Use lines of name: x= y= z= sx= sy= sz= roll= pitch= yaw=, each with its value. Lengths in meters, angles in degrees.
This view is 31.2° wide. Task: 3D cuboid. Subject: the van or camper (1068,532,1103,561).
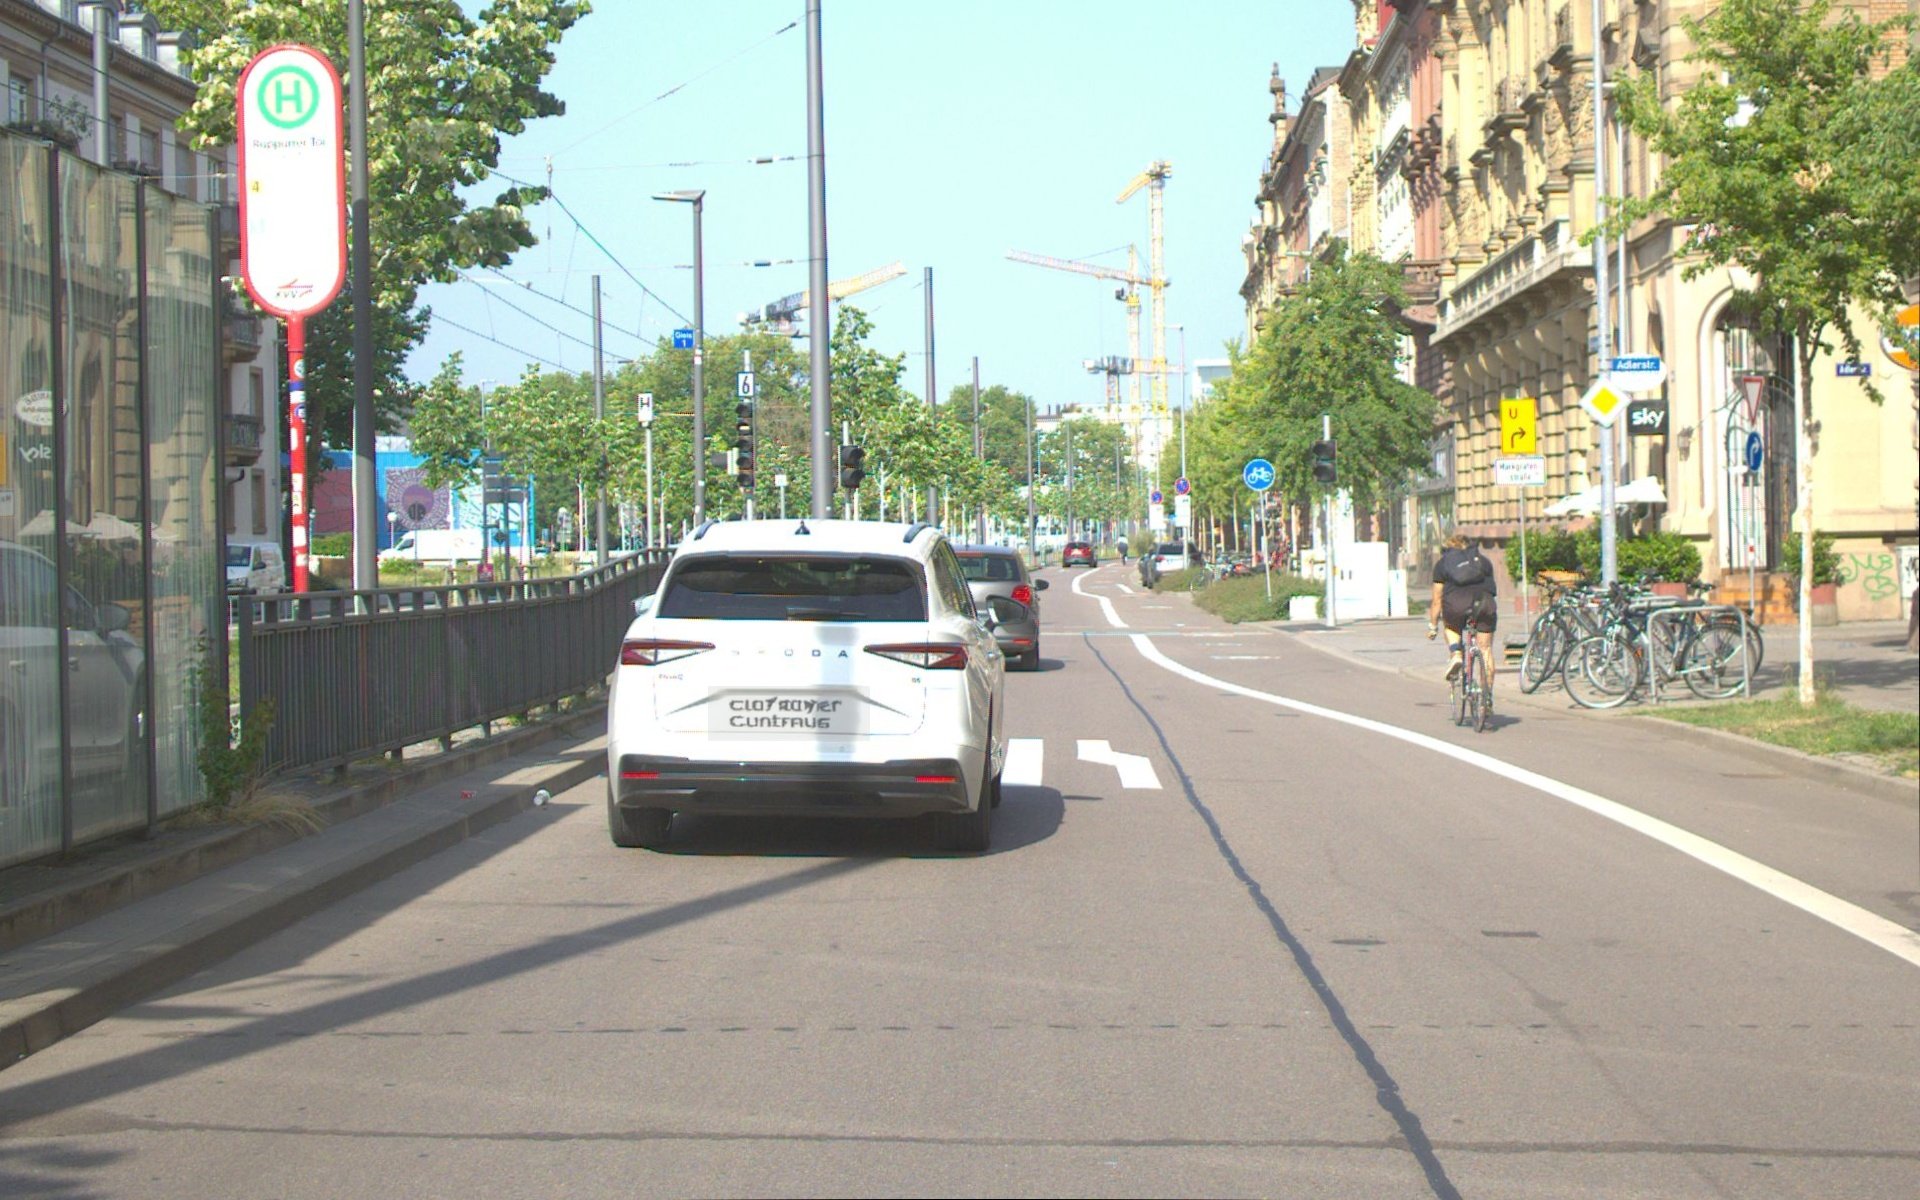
van or camper: x=7.350 y=-3.160 z=201.517 sx=1.993 sy=1.649 sz=4.000 roll=-1 pitch=1 yaw=2

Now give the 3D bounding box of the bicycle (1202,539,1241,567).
bicycle: x=10.460 y=-1.870 z=137.679 sx=0.455 sy=1.078 sz=1.873 roll=-2 pitch=-1 yaw=44

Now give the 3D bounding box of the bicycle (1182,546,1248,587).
bicycle: x=7.105 y=-0.938 z=95.839 sx=1.785 sy=1.050 sz=0.373 roll=-3 pitch=1 yaw=1

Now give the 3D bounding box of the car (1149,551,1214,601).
car: x=7.550 y=-0.847 z=117.526 sx=1.769 sy=1.583 sz=4.248 roll=-2 pitch=1 yaw=-1

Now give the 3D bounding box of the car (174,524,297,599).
car: x=-19.303 y=-1.048 z=91.827 sx=1.994 sy=1.911 sz=5.153 roll=1 pitch=1 yaw=3

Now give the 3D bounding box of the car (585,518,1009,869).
car: x=-0.708 y=0.384 z=17.748 sx=1.817 sy=1.584 sz=4.406 roll=0 pitch=1 yaw=2

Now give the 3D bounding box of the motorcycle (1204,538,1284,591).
motorcycle: x=7.470 y=-0.929 z=90.481 sx=2.035 sy=1.282 sz=0.705 roll=-4 pitch=2 yaw=-32

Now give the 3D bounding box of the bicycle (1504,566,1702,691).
bicycle: x=6.334 y=0.279 z=33.859 sx=1.755 sy=1.084 sz=0.673 roll=-5 pitch=1 yaw=-20

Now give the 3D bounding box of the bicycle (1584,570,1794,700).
bicycle: x=6.904 y=0.324 z=32.596 sx=1.755 sy=1.084 sz=0.658 roll=-4 pitch=1 yaw=-7

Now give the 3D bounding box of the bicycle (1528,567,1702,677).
bicycle: x=7.078 y=0.234 z=37.193 sx=1.753 sy=1.084 sz=0.582 roll=-3 pitch=1 yaw=6

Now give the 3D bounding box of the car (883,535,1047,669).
car: x=0.107 y=-0.016 z=40.196 sx=1.754 sy=1.479 sz=4.406 roll=0 pitch=1 yaw=2

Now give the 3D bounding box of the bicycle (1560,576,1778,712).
bicycle: x=6.396 y=0.394 z=31.049 sx=1.755 sy=1.084 sz=0.611 roll=-4 pitch=1 yaw=-7

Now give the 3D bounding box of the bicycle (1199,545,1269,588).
bicycle: x=7.546 y=-0.913 z=94.578 sx=1.806 sy=1.092 sz=0.672 roll=-3 pitch=1 yaw=-3

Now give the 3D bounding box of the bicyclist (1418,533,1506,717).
bicyclist: x=4.156 y=0.195 z=28.485 sx=0.583 sy=1.477 sz=0.932 roll=-1 pitch=2 yaw=0

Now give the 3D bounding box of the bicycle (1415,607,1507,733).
bicycle: x=4.162 y=0.566 z=28.643 sx=0.505 sy=0.950 sz=1.785 roll=-1 pitch=2 yaw=0

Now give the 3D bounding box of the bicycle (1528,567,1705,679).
bicycle: x=6.977 y=0.238 z=36.596 sx=1.753 sy=1.084 sz=0.582 roll=-3 pitch=1 yaw=6

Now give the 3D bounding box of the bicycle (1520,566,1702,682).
bicycle: x=6.681 y=0.243 z=35.351 sx=1.756 sy=1.084 sz=0.668 roll=-3 pitch=1 yaw=8

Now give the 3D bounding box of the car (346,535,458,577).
car: x=-36.724 y=-2.902 z=226.326 sx=6.872 sy=2.629 sz=2.515 roll=1 pitch=1 yaw=-18
